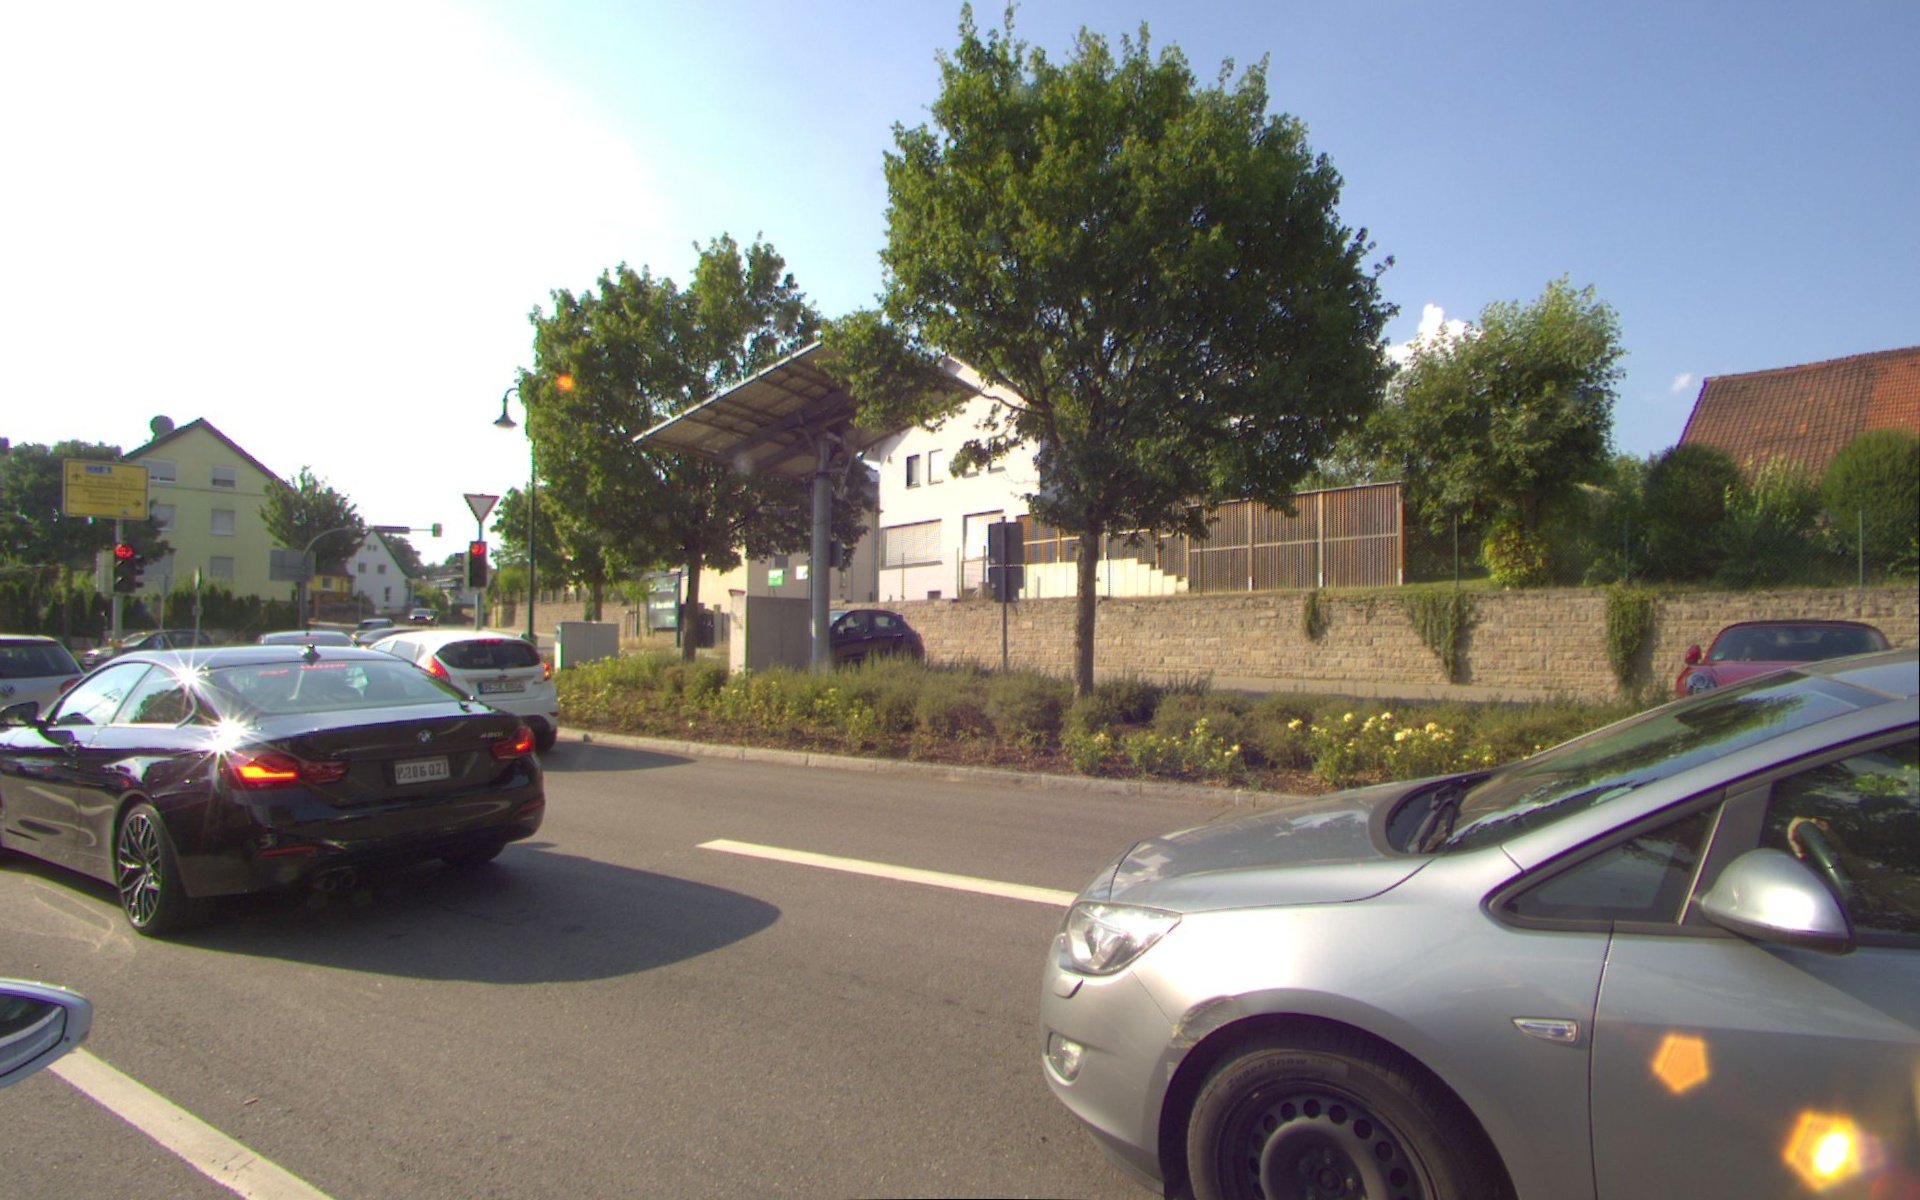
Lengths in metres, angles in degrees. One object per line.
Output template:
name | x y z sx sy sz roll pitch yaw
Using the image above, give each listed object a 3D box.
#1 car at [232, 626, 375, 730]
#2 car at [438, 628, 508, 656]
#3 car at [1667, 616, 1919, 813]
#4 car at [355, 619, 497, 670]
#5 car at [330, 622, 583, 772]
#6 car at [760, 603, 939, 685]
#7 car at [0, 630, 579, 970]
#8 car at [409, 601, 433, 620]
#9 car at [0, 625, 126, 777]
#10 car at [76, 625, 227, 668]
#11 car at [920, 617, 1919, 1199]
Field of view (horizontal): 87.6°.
car | -11.760 1.271 17.820 1.643 1.562 4.362 -1 0 -40
car | -27.462 2.347 56.629 1.812 1.508 4.002 0 -2 4
car | 8.218 0.953 9.752 1.758 1.510 4.120 -1 -2 41
car | -19.219 1.548 36.226 1.940 1.701 4.200 -1 -1 26
car | -6.254 1.069 12.328 3.278 1.562 1.611 -1 0 40
car | -2.385 0.962 22.304 1.758 1.653 3.800 -1 -2 40
car | -4.442 0.914 6.193 4.220 1.416 1.758 -1 0 33
car | -49.261 1.006 91.475 1.821 1.662 4.410 1 -2 -29
car | -10.813 1.012 10.785 3.848 1.444 1.758 -1 0 33
car | -30.080 1.718 37.370 1.821 1.508 3.983 -1 -2 30
car | 2.167 0.783 2.168 4.256 1.472 1.758 -1 0 31
